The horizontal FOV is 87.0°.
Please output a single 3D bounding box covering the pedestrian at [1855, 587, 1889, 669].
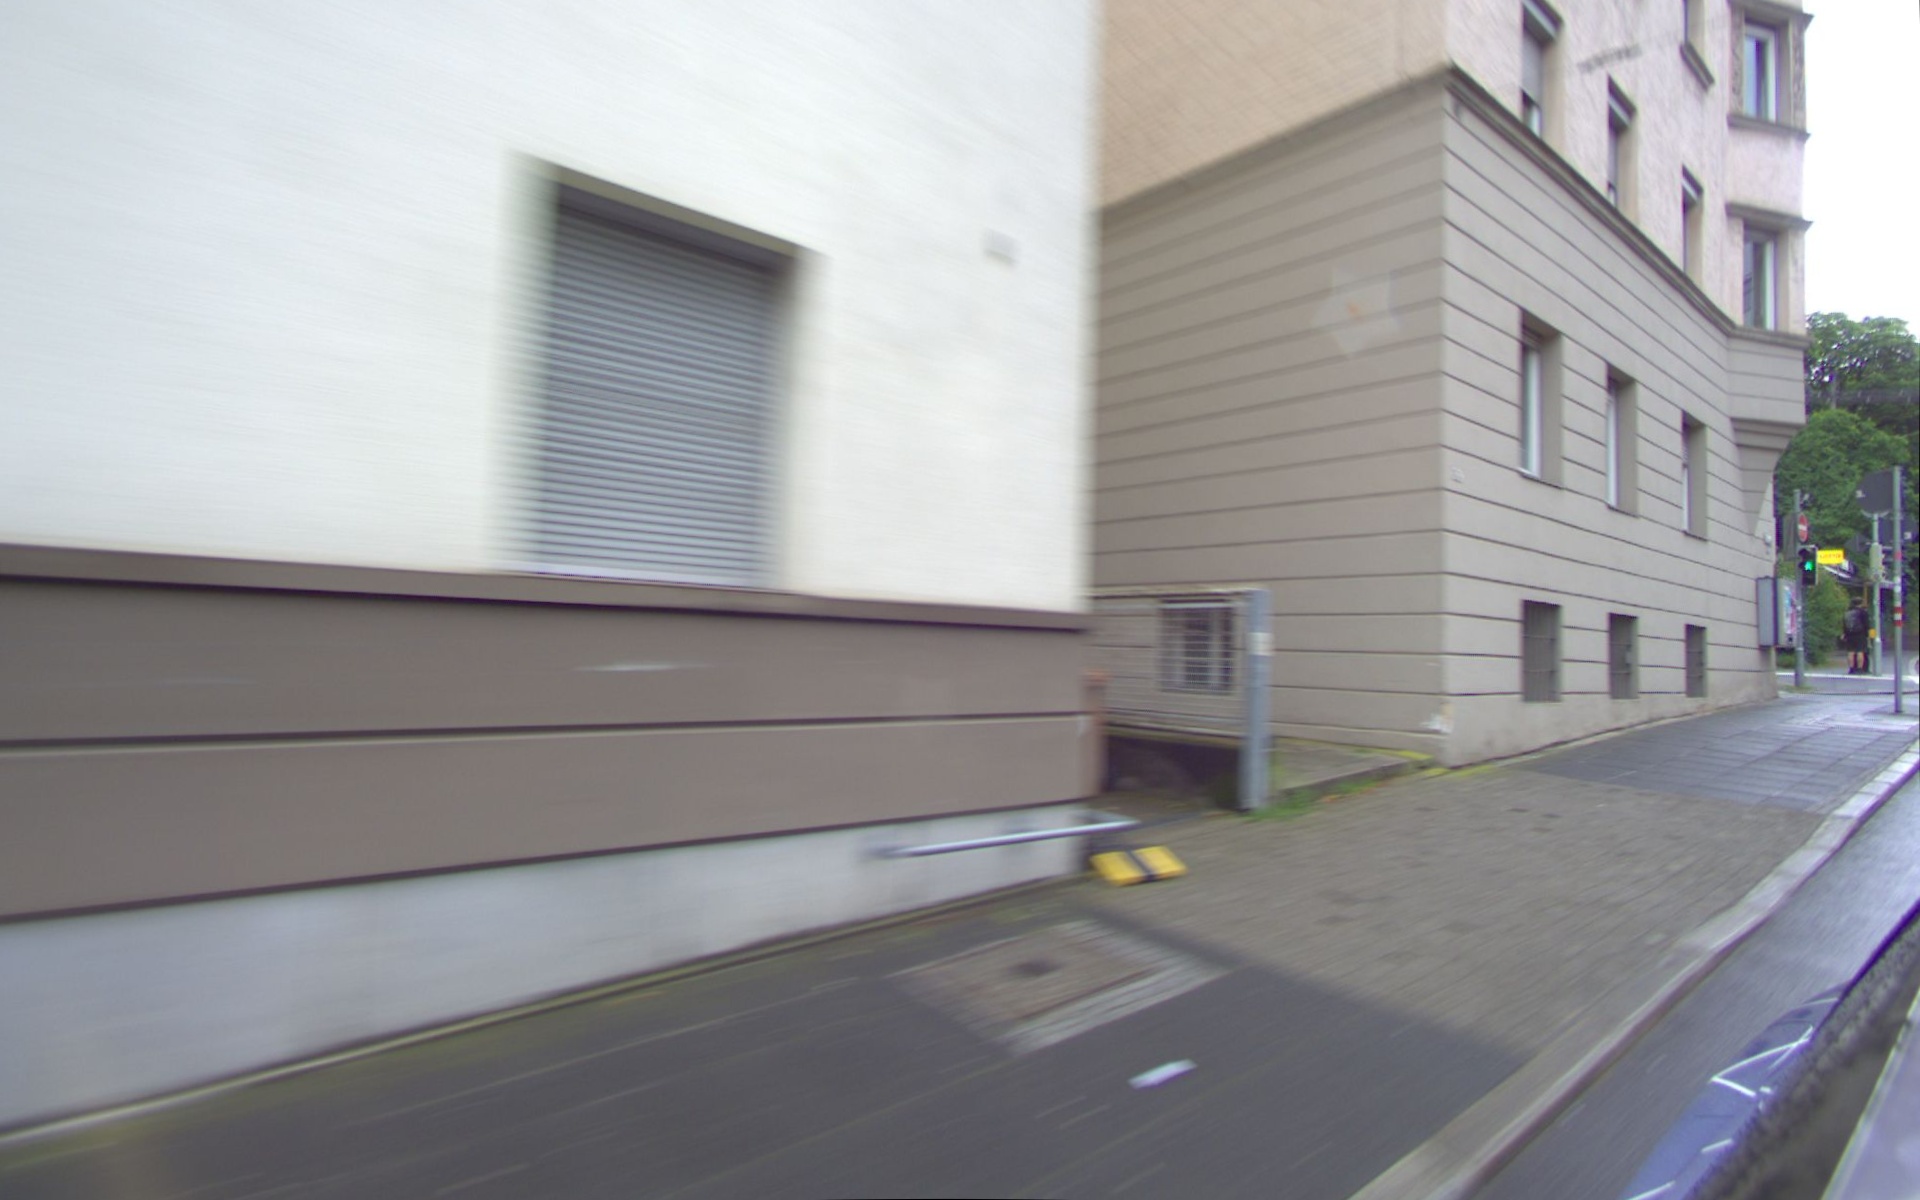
[{"bbox_3d":[21.947,0.661,24.345,0.594,1.940,0.546,1,-1,-43],"label":"pedestrian"}]
